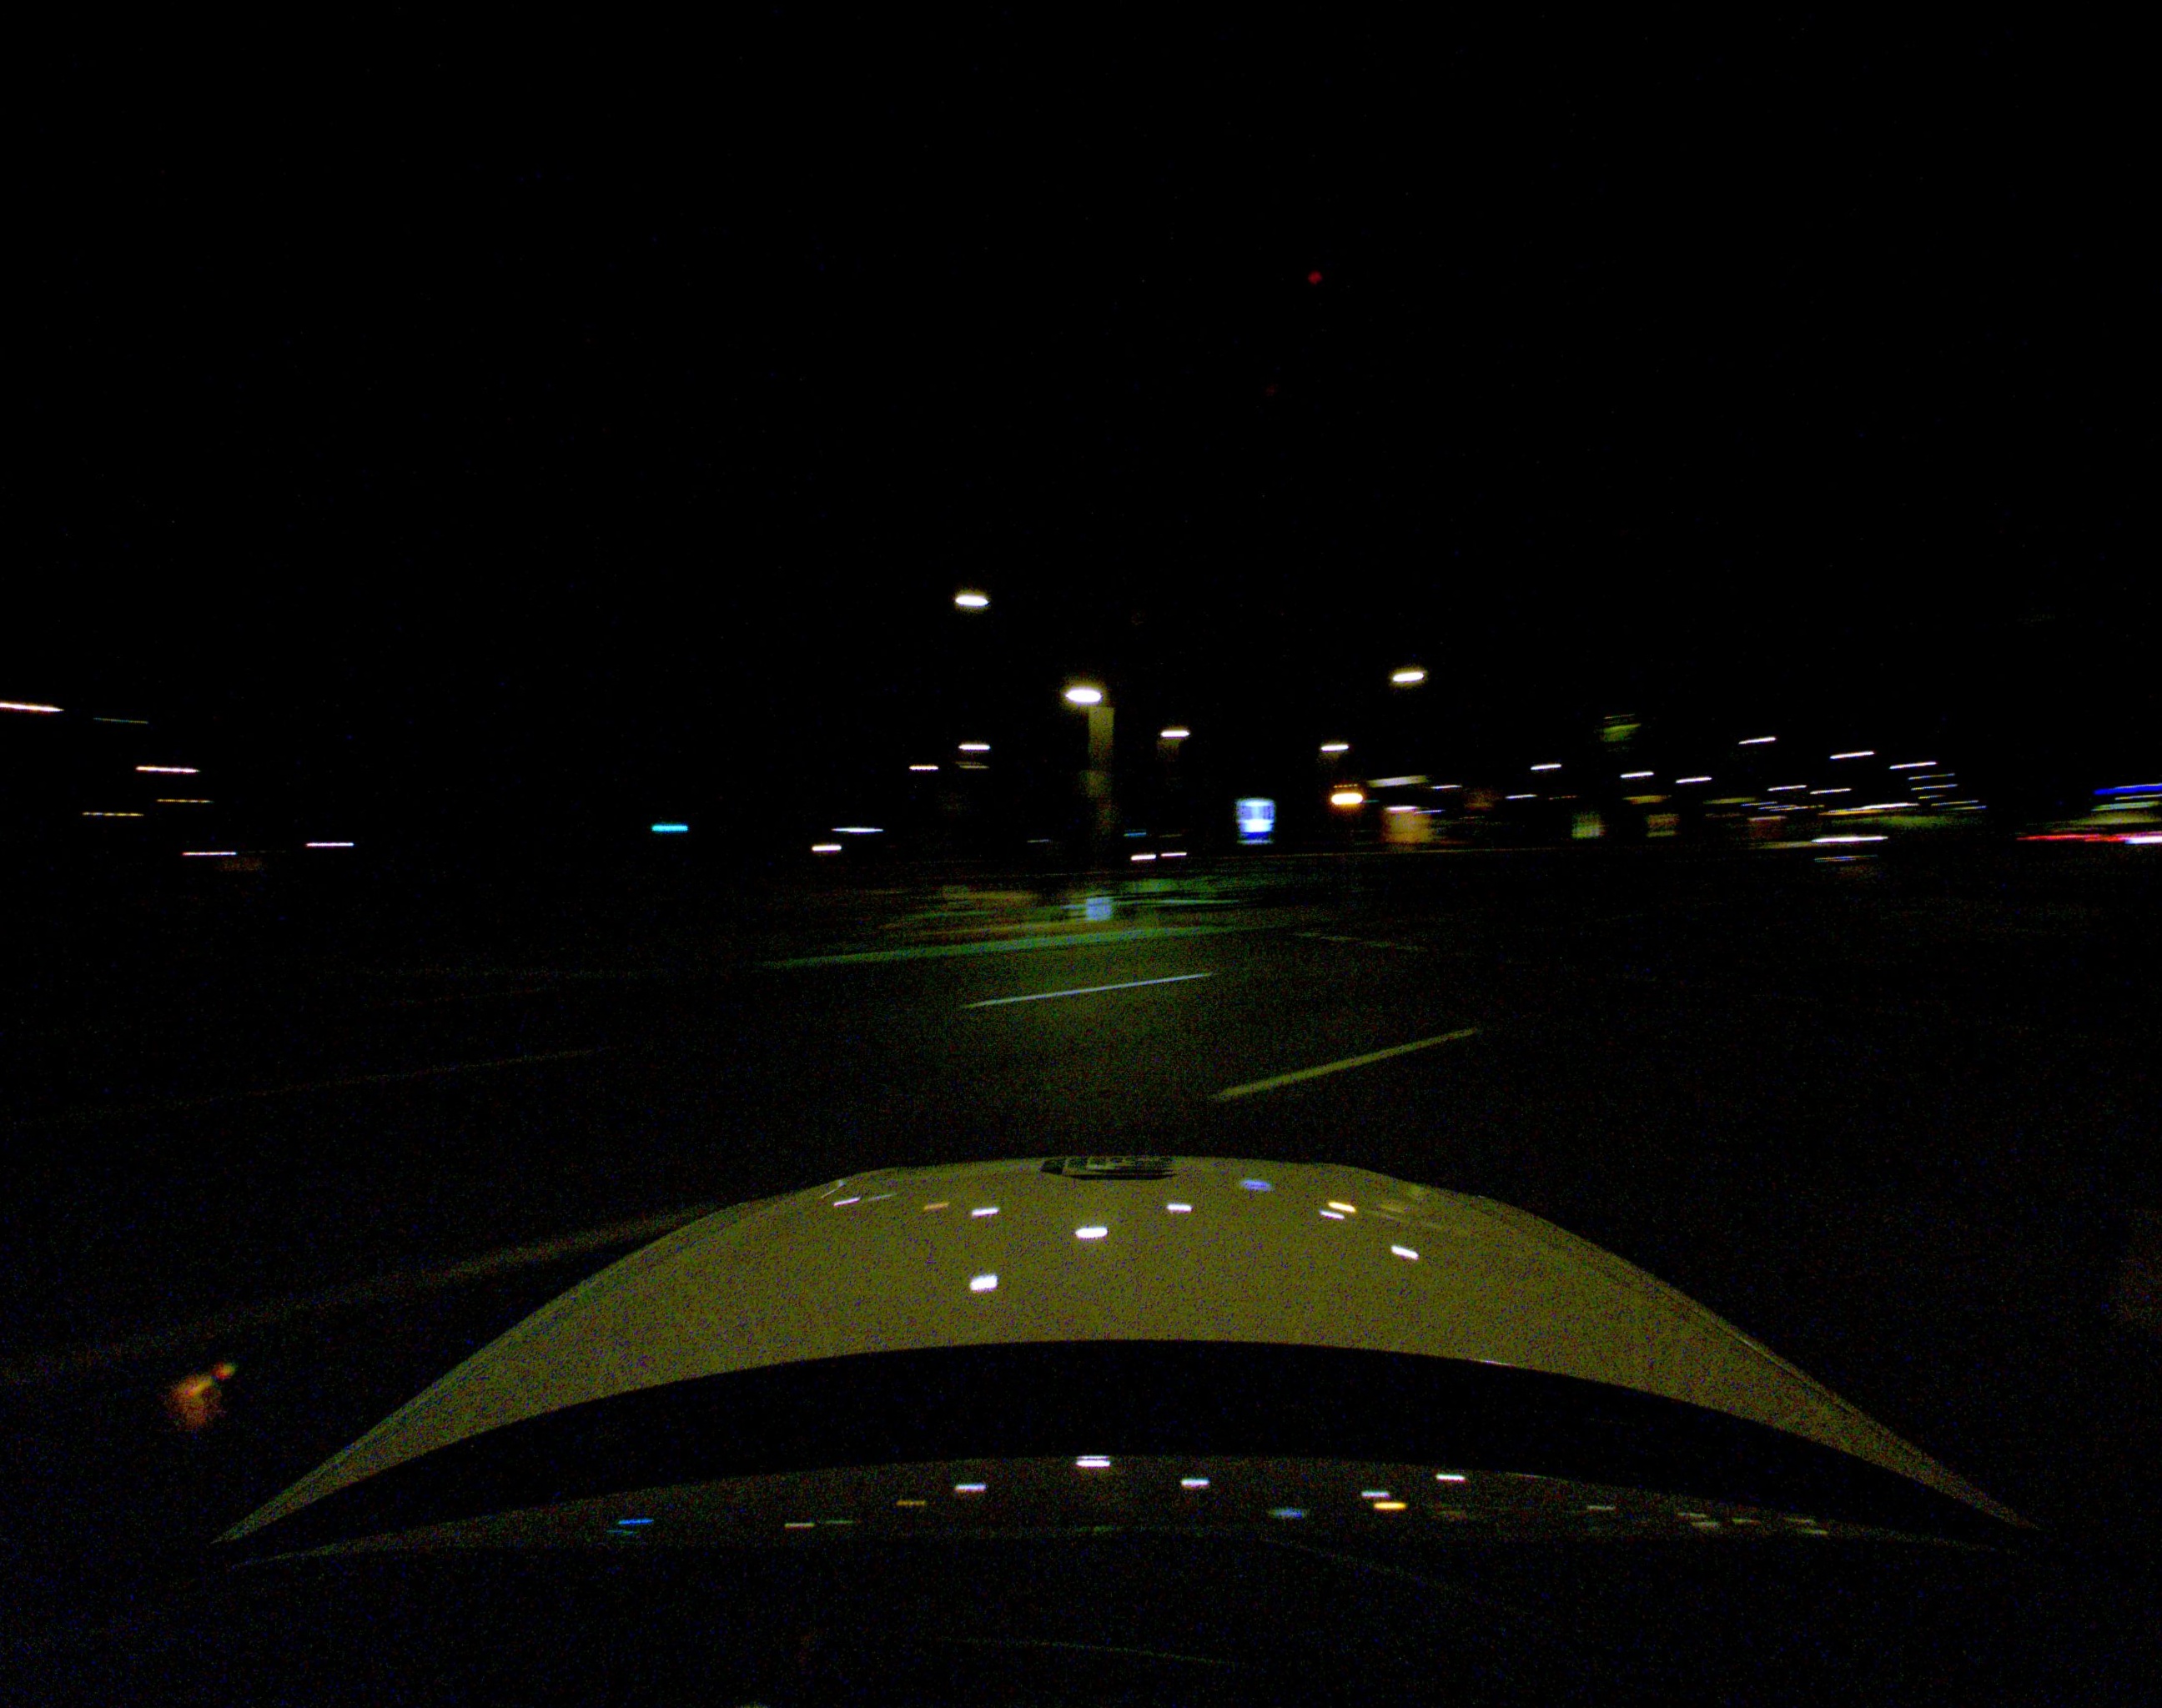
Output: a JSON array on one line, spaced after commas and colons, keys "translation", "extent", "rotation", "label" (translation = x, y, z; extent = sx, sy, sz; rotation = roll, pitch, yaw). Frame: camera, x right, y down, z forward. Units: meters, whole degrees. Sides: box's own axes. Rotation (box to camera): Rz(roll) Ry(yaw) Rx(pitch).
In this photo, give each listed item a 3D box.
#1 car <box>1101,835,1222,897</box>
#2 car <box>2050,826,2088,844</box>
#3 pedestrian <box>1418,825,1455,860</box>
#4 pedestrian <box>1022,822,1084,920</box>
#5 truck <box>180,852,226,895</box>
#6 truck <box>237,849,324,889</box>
[{"translation": [2.973, 0.396, 30.011], "extent": [4.015, 2.013, 1.979], "rotation": [-3, 1, -33], "label": "car"}, {"translation": [91.186, -1.749, 75.176], "extent": [4.478, 1.659, 1.844], "rotation": [0, 2, -35], "label": "car"}, {"translation": [15.624, -0.490, 35.803], "extent": [1.137, 1.500, 1.078], "rotation": [-1, -1, 2], "label": "pedestrian"}, {"translation": [-0.523, 0.290, 15.223], "extent": [0.761, 1.744, 0.824], "rotation": [-3, 3, -38], "label": "pedestrian"}, {"translation": [-77.883, 1.684, 72.320], "extent": [5.665, 3.707, 2.606], "rotation": [-1, -1, 44], "label": "truck"}, {"translation": [-96.375, 1.750, 97.955], "extent": [12.501, 4.547, 4.869], "rotation": [0, -1, 33], "label": "truck"}]
